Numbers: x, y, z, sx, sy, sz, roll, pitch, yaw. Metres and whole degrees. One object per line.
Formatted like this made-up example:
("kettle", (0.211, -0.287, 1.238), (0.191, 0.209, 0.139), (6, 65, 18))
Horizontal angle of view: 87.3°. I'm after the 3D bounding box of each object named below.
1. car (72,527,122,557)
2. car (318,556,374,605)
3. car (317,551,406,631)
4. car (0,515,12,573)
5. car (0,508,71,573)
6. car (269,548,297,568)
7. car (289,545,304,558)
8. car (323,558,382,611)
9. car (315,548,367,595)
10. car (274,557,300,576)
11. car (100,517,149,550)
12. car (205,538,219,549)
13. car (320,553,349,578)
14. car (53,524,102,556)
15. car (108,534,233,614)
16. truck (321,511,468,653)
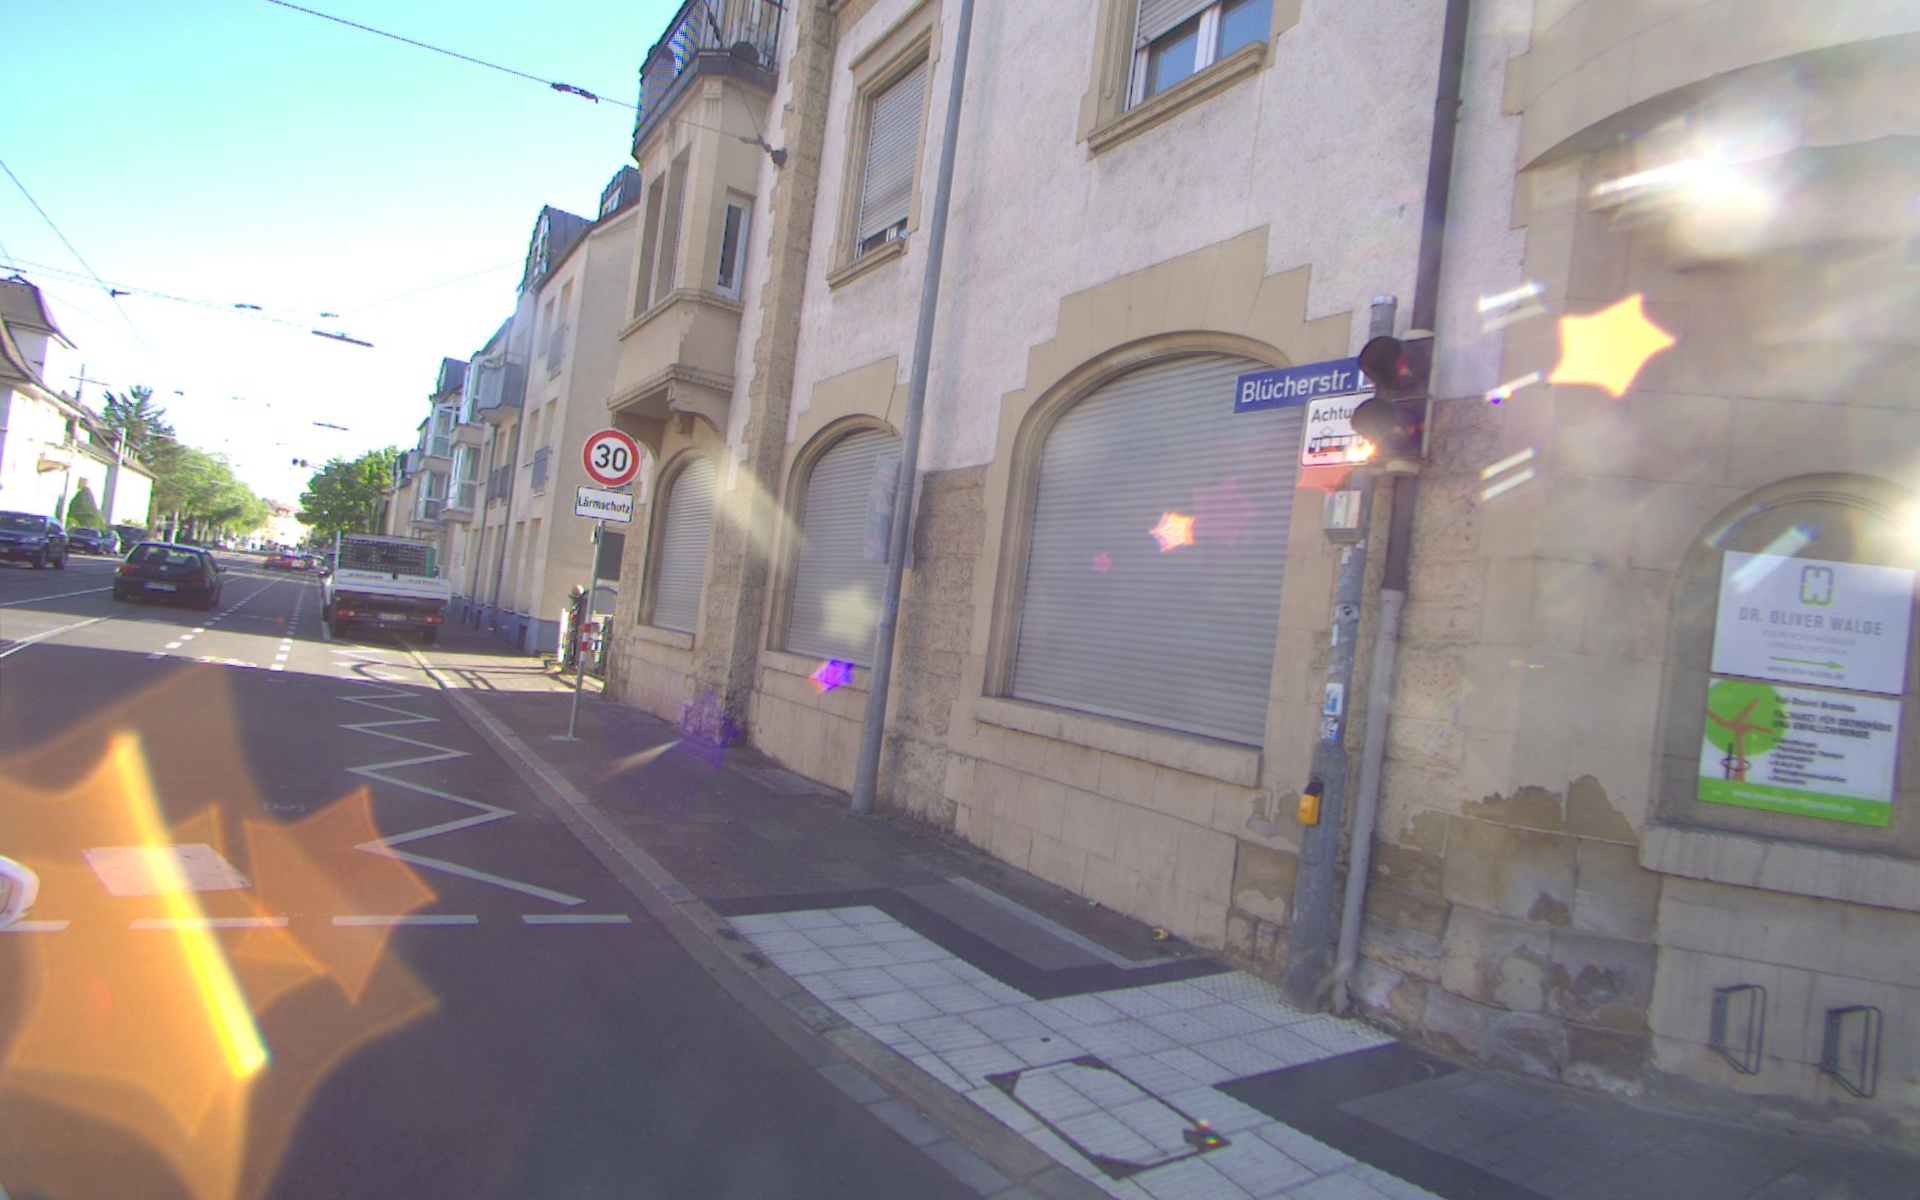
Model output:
("car", (-54.040, -3.624, 63.049), (1.667, 1.493, 3.802), (10, -3, -33))
("car", (-24.197, -0.784, 39.607), (1.546, 1.574, 3.620), (10, -3, -34))
("car", (-16.358, -0.285, 27.381), (1.729, 1.766, 4.219), (10, -3, -33))
("car", (-24.524, -1.453, 24.244), (1.606, 1.478, 4.041), (6, -1, -33))
("car", (-28.288, -1.814, 30.127), (1.693, 1.724, 4.327), (8, -2, -33))
("car", (-54.643, -3.403, 81.275), (1.624, 1.388, 3.726), (8, -2, -32))
("car", (-112.259, -8.223, 170.211), (1.779, 1.879, 3.963), (11, -3, -34))
("car", (-21.920, -0.572, 36.227), (1.489, 1.574, 3.335), (10, -3, -34))
("car", (-31.896, -1.482, 51.756), (1.896, 2.009, 4.522), (10, -3, -34))
("car", (-60.630, -3.011, 90.623), (1.729, 1.458, 3.777), (8, -2, -33))
("car", (-61.517, -4.863, 74.156), (1.894, 2.036, 4.908), (10, -3, -32))
("car", (-123.228, -9.351, 165.786), (1.568, 1.495, 3.404), (7, -1, -39))
("car", (-48.039, -2.666, 77.235), (1.594, 1.542, 3.516), (10, -3, -35))
("car", (-50.190, -3.408, 57.270), (1.655, 1.494, 4.208), (8, -2, -37))
("car", (-18.098, -0.622, 23.220), (1.707, 1.417, 3.972), (11, -4, -33))
("truck", (-12.777, -0.445, 22.475), (2.281, 2.506, 6.094), (8, -2, -33))
